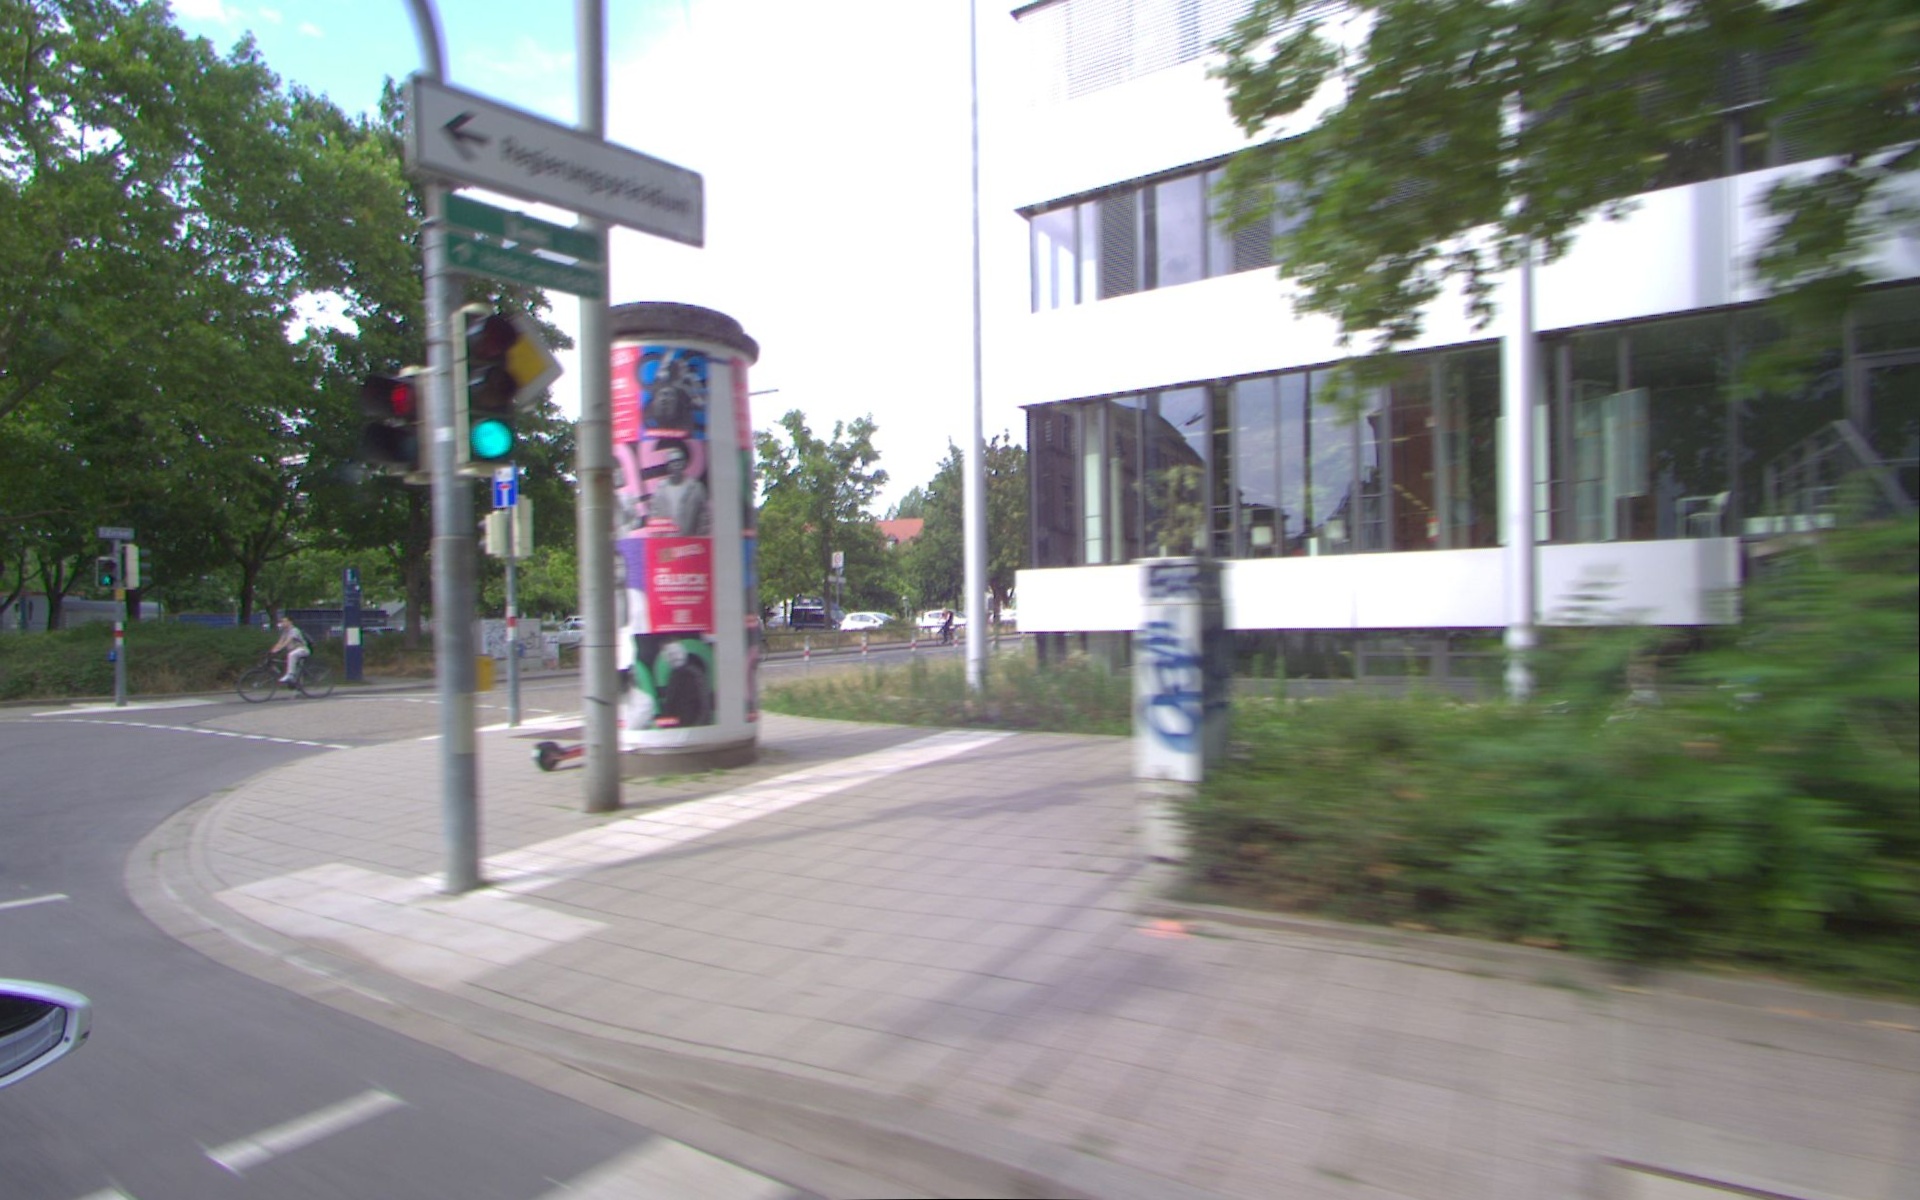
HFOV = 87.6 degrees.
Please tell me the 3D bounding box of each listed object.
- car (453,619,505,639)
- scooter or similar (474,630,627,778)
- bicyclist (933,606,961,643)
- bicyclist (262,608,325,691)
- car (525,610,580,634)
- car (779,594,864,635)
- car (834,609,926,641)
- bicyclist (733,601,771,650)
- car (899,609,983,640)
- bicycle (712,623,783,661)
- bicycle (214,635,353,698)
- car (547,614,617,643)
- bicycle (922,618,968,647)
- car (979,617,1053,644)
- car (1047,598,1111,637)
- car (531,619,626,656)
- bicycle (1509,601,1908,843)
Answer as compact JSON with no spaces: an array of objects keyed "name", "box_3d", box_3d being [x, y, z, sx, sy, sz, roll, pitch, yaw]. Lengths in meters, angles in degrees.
[{"name":"car","box_3d":[-38.938,2.358,81.088,3.732,1.600,1.992,-1,-2,29]},{"name":"scooter or similar","box_3d":[-3.798,0.932,9.369,0.340,1.225,1.301,-1,1,36]},{"name":"bicyclist","box_3d":[-0.571,1.071,44.081,0.903,1.597,0.827,-3,-1,33]},{"name":"bicyclist","box_3d":[-14.039,1.039,21.095,0.904,1.699,0.826,-3,-1,36]},{"name":"car","box_3d":[-35.646,1.933,87.561,4.701,2.039,1.992,-1,-2,29]},{"name":"car","box_3d":[-9.396,1.014,67.945,5.414,2.646,2.433,-1,-2,29]},{"name":"car","box_3d":[-4.287,1.370,53.333,4.707,1.651,1.990,-1,-3,33]},{"name":"bicyclist","box_3d":[-6.935,0.859,33.399,0.904,1.597,0.826,-3,-1,36]},{"name":"car","box_3d":[-1.155,1.523,60.336,4.701,1.816,1.992,-1,-2,29]},{"name":"bicycle","box_3d":[-7.031,1.371,33.232,0.904,1.187,2.237,-3,-2,36]},{"name":"bicycle","box_3d":[-14.119,1.364,20.954,0.904,1.187,2.237,-3,-2,36]},{"name":"car","box_3d":[-26.654,2.038,70.656,4.698,2.039,1.993,-1,-2,27]},{"name":"bicycle","box_3d":[-0.639,1.408,43.976,0.903,1.187,2.240,-3,-2,32]},{"name":"car","box_3d":[3.823,2.121,68.520,4.701,1.816,1.992,-1,-2,29]},{"name":"car","box_3d":[4.790,0.740,39.929,1.648,1.462,3.644,-1,-2,22]},{"name":"car","box_3d":[-19.380,1.921,50.852,4.701,1.816,1.992,-1,-2,29]},{"name":"bicycle","box_3d":[4.097,0.629,5.662,1.701,1.183,0.697,-1,-2,32]}]
